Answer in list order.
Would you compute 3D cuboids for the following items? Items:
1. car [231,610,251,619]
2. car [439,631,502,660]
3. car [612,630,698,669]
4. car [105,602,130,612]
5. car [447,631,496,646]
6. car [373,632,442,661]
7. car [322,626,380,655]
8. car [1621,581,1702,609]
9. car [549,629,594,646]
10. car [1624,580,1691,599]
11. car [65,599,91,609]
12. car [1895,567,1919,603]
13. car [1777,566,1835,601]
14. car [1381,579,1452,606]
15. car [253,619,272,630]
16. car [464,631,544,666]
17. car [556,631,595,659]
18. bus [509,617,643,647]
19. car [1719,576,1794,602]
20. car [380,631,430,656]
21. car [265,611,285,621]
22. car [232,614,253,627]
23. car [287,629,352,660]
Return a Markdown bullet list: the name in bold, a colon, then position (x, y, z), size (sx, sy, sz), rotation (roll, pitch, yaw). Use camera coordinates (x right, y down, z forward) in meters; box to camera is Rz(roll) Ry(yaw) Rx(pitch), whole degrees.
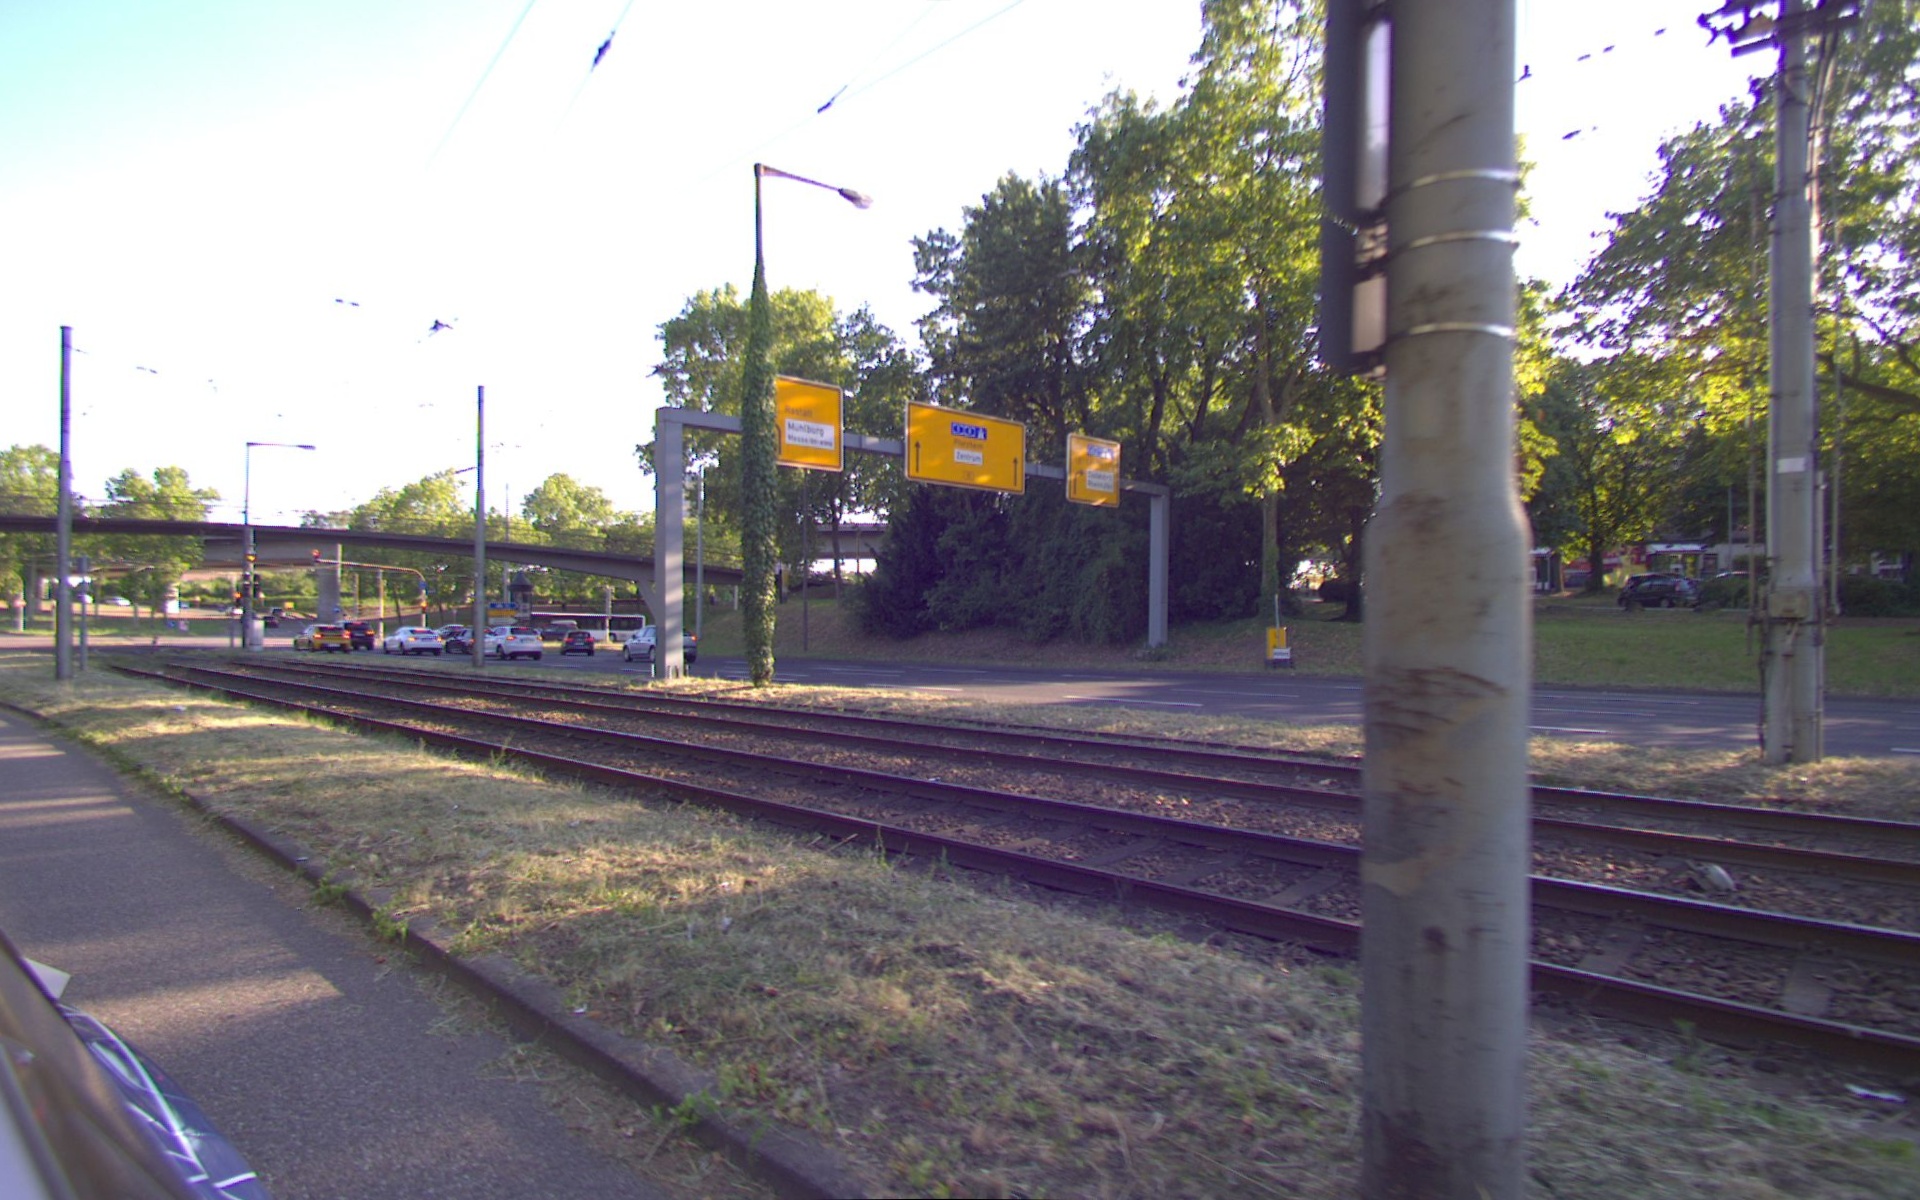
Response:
- **car**: position (-113.771, 2.348, 160.185), size (1.981, 1.454, 4.866), rotation (1, -1, -42)
- **car**: position (-27.427, 2.523, 56.637), size (4.437, 1.493, 1.818), rotation (-2, -1, 44)
- **car**: position (-12.136, 1.918, 40.118), size (1.633, 1.426, 4.264), rotation (0, -1, -41)
- **car**: position (-148.736, 1.276, 178.662), size (4.282, 1.621, 1.841), rotation (0, -1, 25)
- **car**: position (-45.521, 3.609, 94.305), size (4.024, 1.364, 1.722), rotation (1, -1, -24)
- **car**: position (-28.280, 2.334, 51.741), size (4.600, 1.426, 1.818), rotation (-2, -2, 44)
- **car**: position (-36.167, 2.374, 60.029), size (4.436, 1.667, 1.818), rotation (-1, -1, 43)
- **car**: position (34.993, -0.214, 50.584), size (1.502, 1.342, 3.522), rotation (-1, -1, -1)
- **car**: position (-38.460, 3.724, 100.230), size (4.024, 1.665, 1.722), rotation (1, -1, -24)
- **car**: position (44.994, -0.661, 65.354), size (3.512, 1.129, 1.351), rotation (-1, -1, 34)
- **car**: position (-156.964, 0.713, 180.175), size (4.117, 1.881, 1.843), rotation (0, -1, 22)
- **car**: position (38.056, -0.596, 39.755), size (3.467, 1.342, 1.585), rotation (-1, -1, -41)
- **car**: position (34.606, -0.658, 41.379), size (1.525, 1.342, 3.471), rotation (-2, -1, 44)
- **car**: position (23.835, -0.399, 52.832), size (3.461, 1.342, 1.529), rotation (-1, -1, -26)
- **car**: position (-83.950, 2.931, 121.820), size (1.664, 1.320, 4.319), rotation (1, -1, -37)
- **car**: position (-19.726, 2.052, 43.665), size (4.258, 1.426, 1.635), rotation (-2, -2, 43)
- **car**: position (-22.823, 2.646, 59.959), size (1.812, 1.493, 4.615), rotation (-1, -1, -25)
- **bus**: position (-39.428, 3.301, 104.161), size (12.629, 2.977, 2.841), rotation (1, -1, -23)
- **car**: position (49.765, -0.677, 63.307), size (3.512, 1.471, 1.351), rotation (-1, -1, 34)
- **car**: position (-35.408, 2.741, 64.492), size (1.667, 1.426, 4.440), rotation (0, -1, -45)
- **car**: position (-100.739, 2.371, 148.823), size (1.981, 1.454, 4.258), rotation (1, -1, -42)
- **car**: position (-93.267, 2.658, 131.532), size (1.768, 1.663, 4.364), rotation (1, -1, -40)
- **car**: position (-32.081, 2.196, 50.636), size (4.019, 1.426, 1.818), rotation (-1, -1, 44)
